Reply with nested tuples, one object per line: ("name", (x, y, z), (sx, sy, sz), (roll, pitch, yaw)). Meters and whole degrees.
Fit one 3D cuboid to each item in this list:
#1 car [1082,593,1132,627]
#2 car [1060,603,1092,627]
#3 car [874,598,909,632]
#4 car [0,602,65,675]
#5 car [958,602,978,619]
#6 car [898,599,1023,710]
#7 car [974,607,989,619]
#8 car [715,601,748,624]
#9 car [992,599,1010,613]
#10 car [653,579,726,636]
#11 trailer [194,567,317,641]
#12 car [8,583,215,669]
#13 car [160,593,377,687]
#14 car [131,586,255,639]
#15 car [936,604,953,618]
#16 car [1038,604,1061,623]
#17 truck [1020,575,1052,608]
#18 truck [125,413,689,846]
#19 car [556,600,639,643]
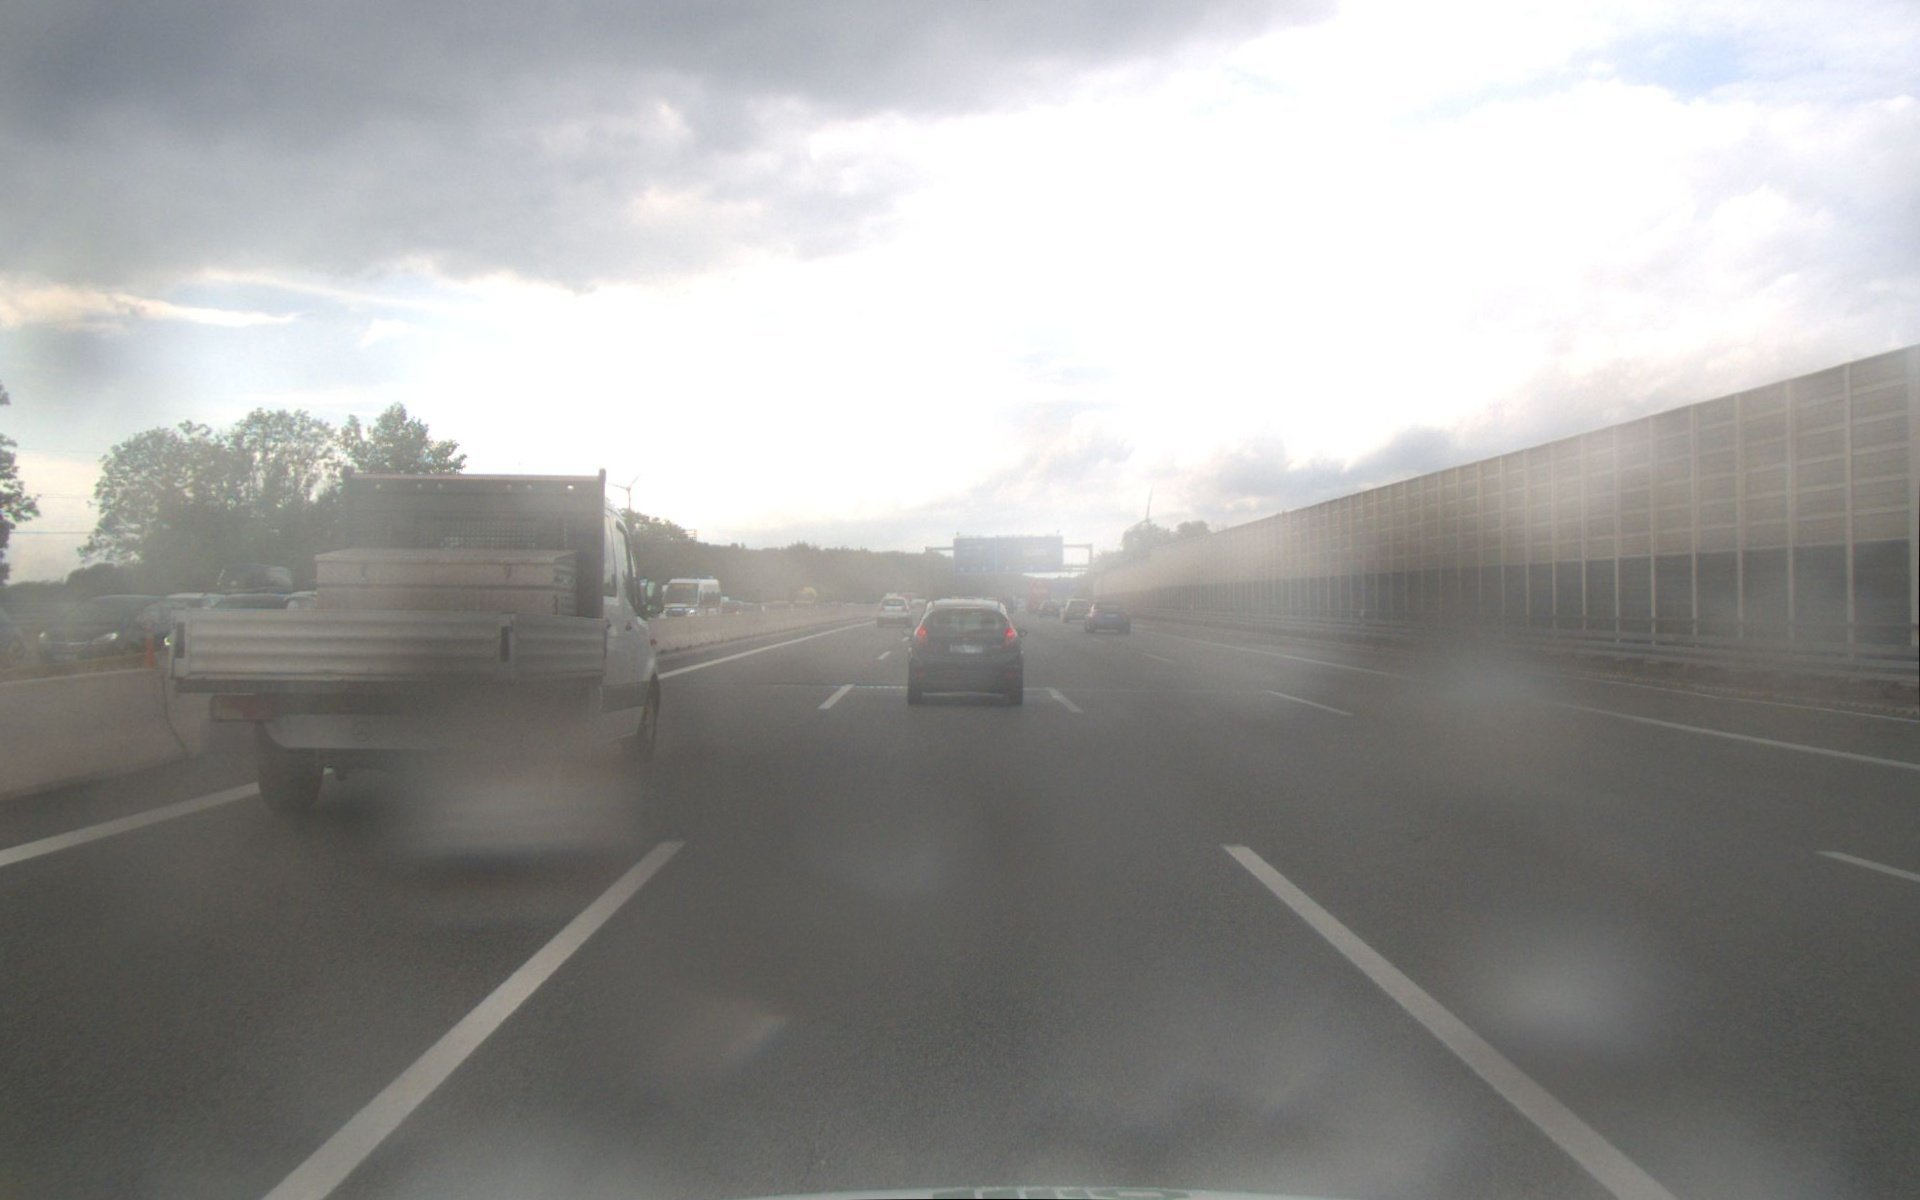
("car", (6.621, 0.447, 74.697), (1.909, 1.443, 4.232), (0, 0, 1))
("car", (7.747, 1.001, 110.982), (1.844, 1.569, 4.432), (-1, -1, 0))
("car", (-3.475, 0.751, 84.548), (1.682, 1.652, 4.278), (0, 1, -1))
("car", (-21.333, 0.816, 34.833), (2.018, 1.561, 5.469), (0, 0, 0))
("car", (0.768, 1.026, 162.469), (1.928, 1.588, 4.432), (-1, -1, 0))
("car", (0.003, 0.742, 24.576), (1.682, 1.441, 4.278), (0, 1, 0))
("car", (2.880, 1.819, 225.051), (1.928, 1.588, 4.431), (-1, -1, -1))
("car", (-17.246, 0.927, 124.948), (1.687, 1.675, 4.520), (1, 0, 2))
("car", (4.825, 0.736, 195.697), (1.928, 1.588, 4.432), (-1, -1, 0))
("car", (-14.180, 0.317, 87.312), (2.185, 2.797, 9.165), (0, 1, 1))
("trailer", (-25.301, 0.123, 59.622), (2.155, 2.527, 5.228), (0, 0, 0))
("car", (-17.611, 0.506, 34.597), (2.018, 1.674, 4.519), (0, 0, 0))
("car", (-13.349, 0.716, 32.354), (2.018, 1.674, 5.379), (0, 0, 0))
("car", (-25.292, 0.407, 54.714), (2.018, 1.674, 4.519), (0, 0, 0))
("car", (-1.841, 1.311, 194.070), (1.928, 1.588, 4.432), (-1, -1, 0))
("car", (7.987, 1.202, 148.237), (1.844, 1.588, 4.432), (-1, -1, 0))
("truck", (8.871, -1.017, 193.590), (3.088, 3.664, 12.698), (1, 0, 0))
("truck", (-3.766, 0.138, 13.103), (2.260, 2.482, 7.146), (0, 1, -2))
("car", (-13.960, 0.797, 63.982), (2.018, 1.561, 5.469), (0, 0, 0))
